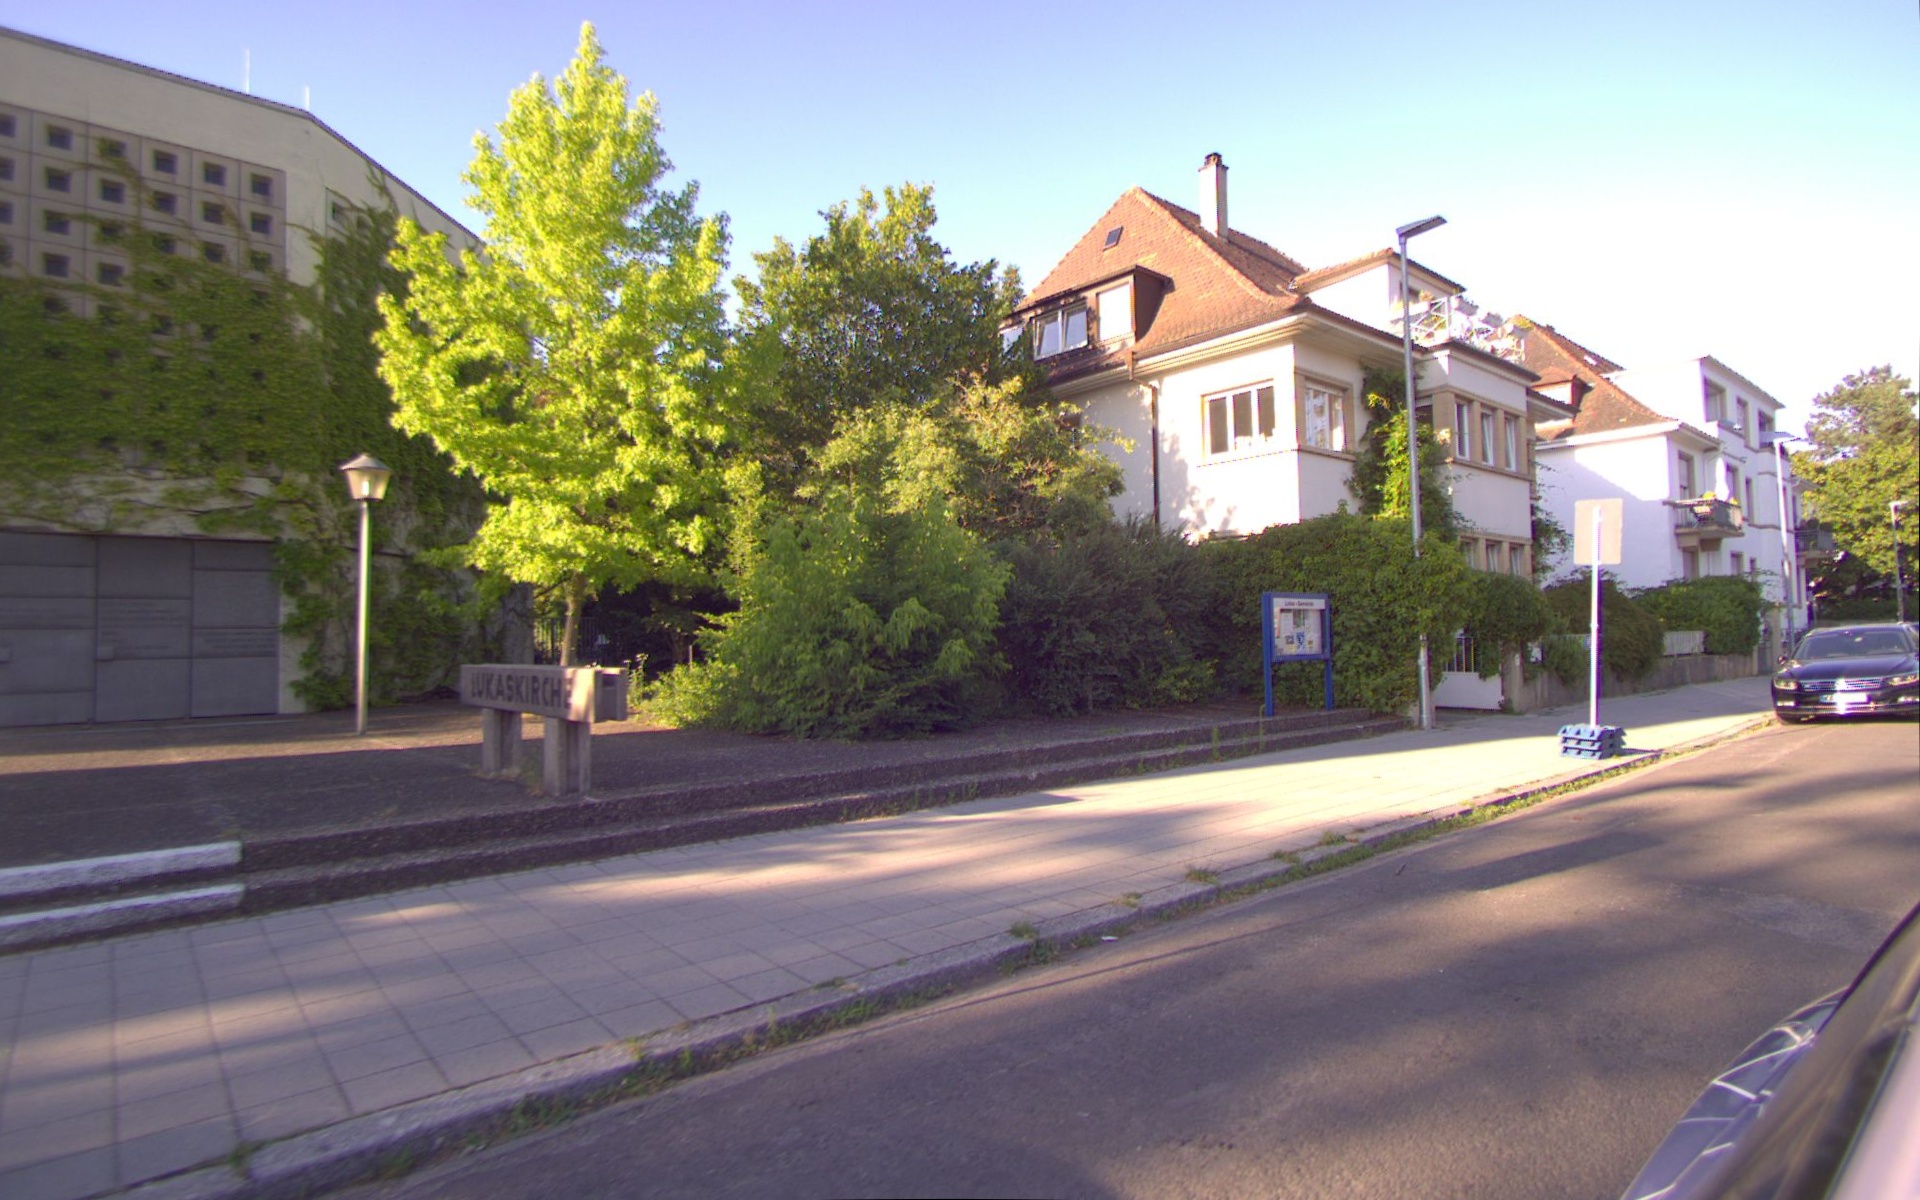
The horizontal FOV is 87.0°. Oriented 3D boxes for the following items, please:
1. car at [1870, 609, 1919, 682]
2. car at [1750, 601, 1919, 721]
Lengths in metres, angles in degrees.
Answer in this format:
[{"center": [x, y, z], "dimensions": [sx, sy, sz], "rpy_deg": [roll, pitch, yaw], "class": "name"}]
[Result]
[{"center": [22.777, 0.955, 23.334], "dimensions": [4.382, 1.557, 1.886], "rpy_deg": [-1, -5, -39], "class": "car"}, {"center": [14.577, 0.909, 16.267], "dimensions": [4.802, 1.619, 1.995], "rpy_deg": [0, -6, -42], "class": "car"}]
